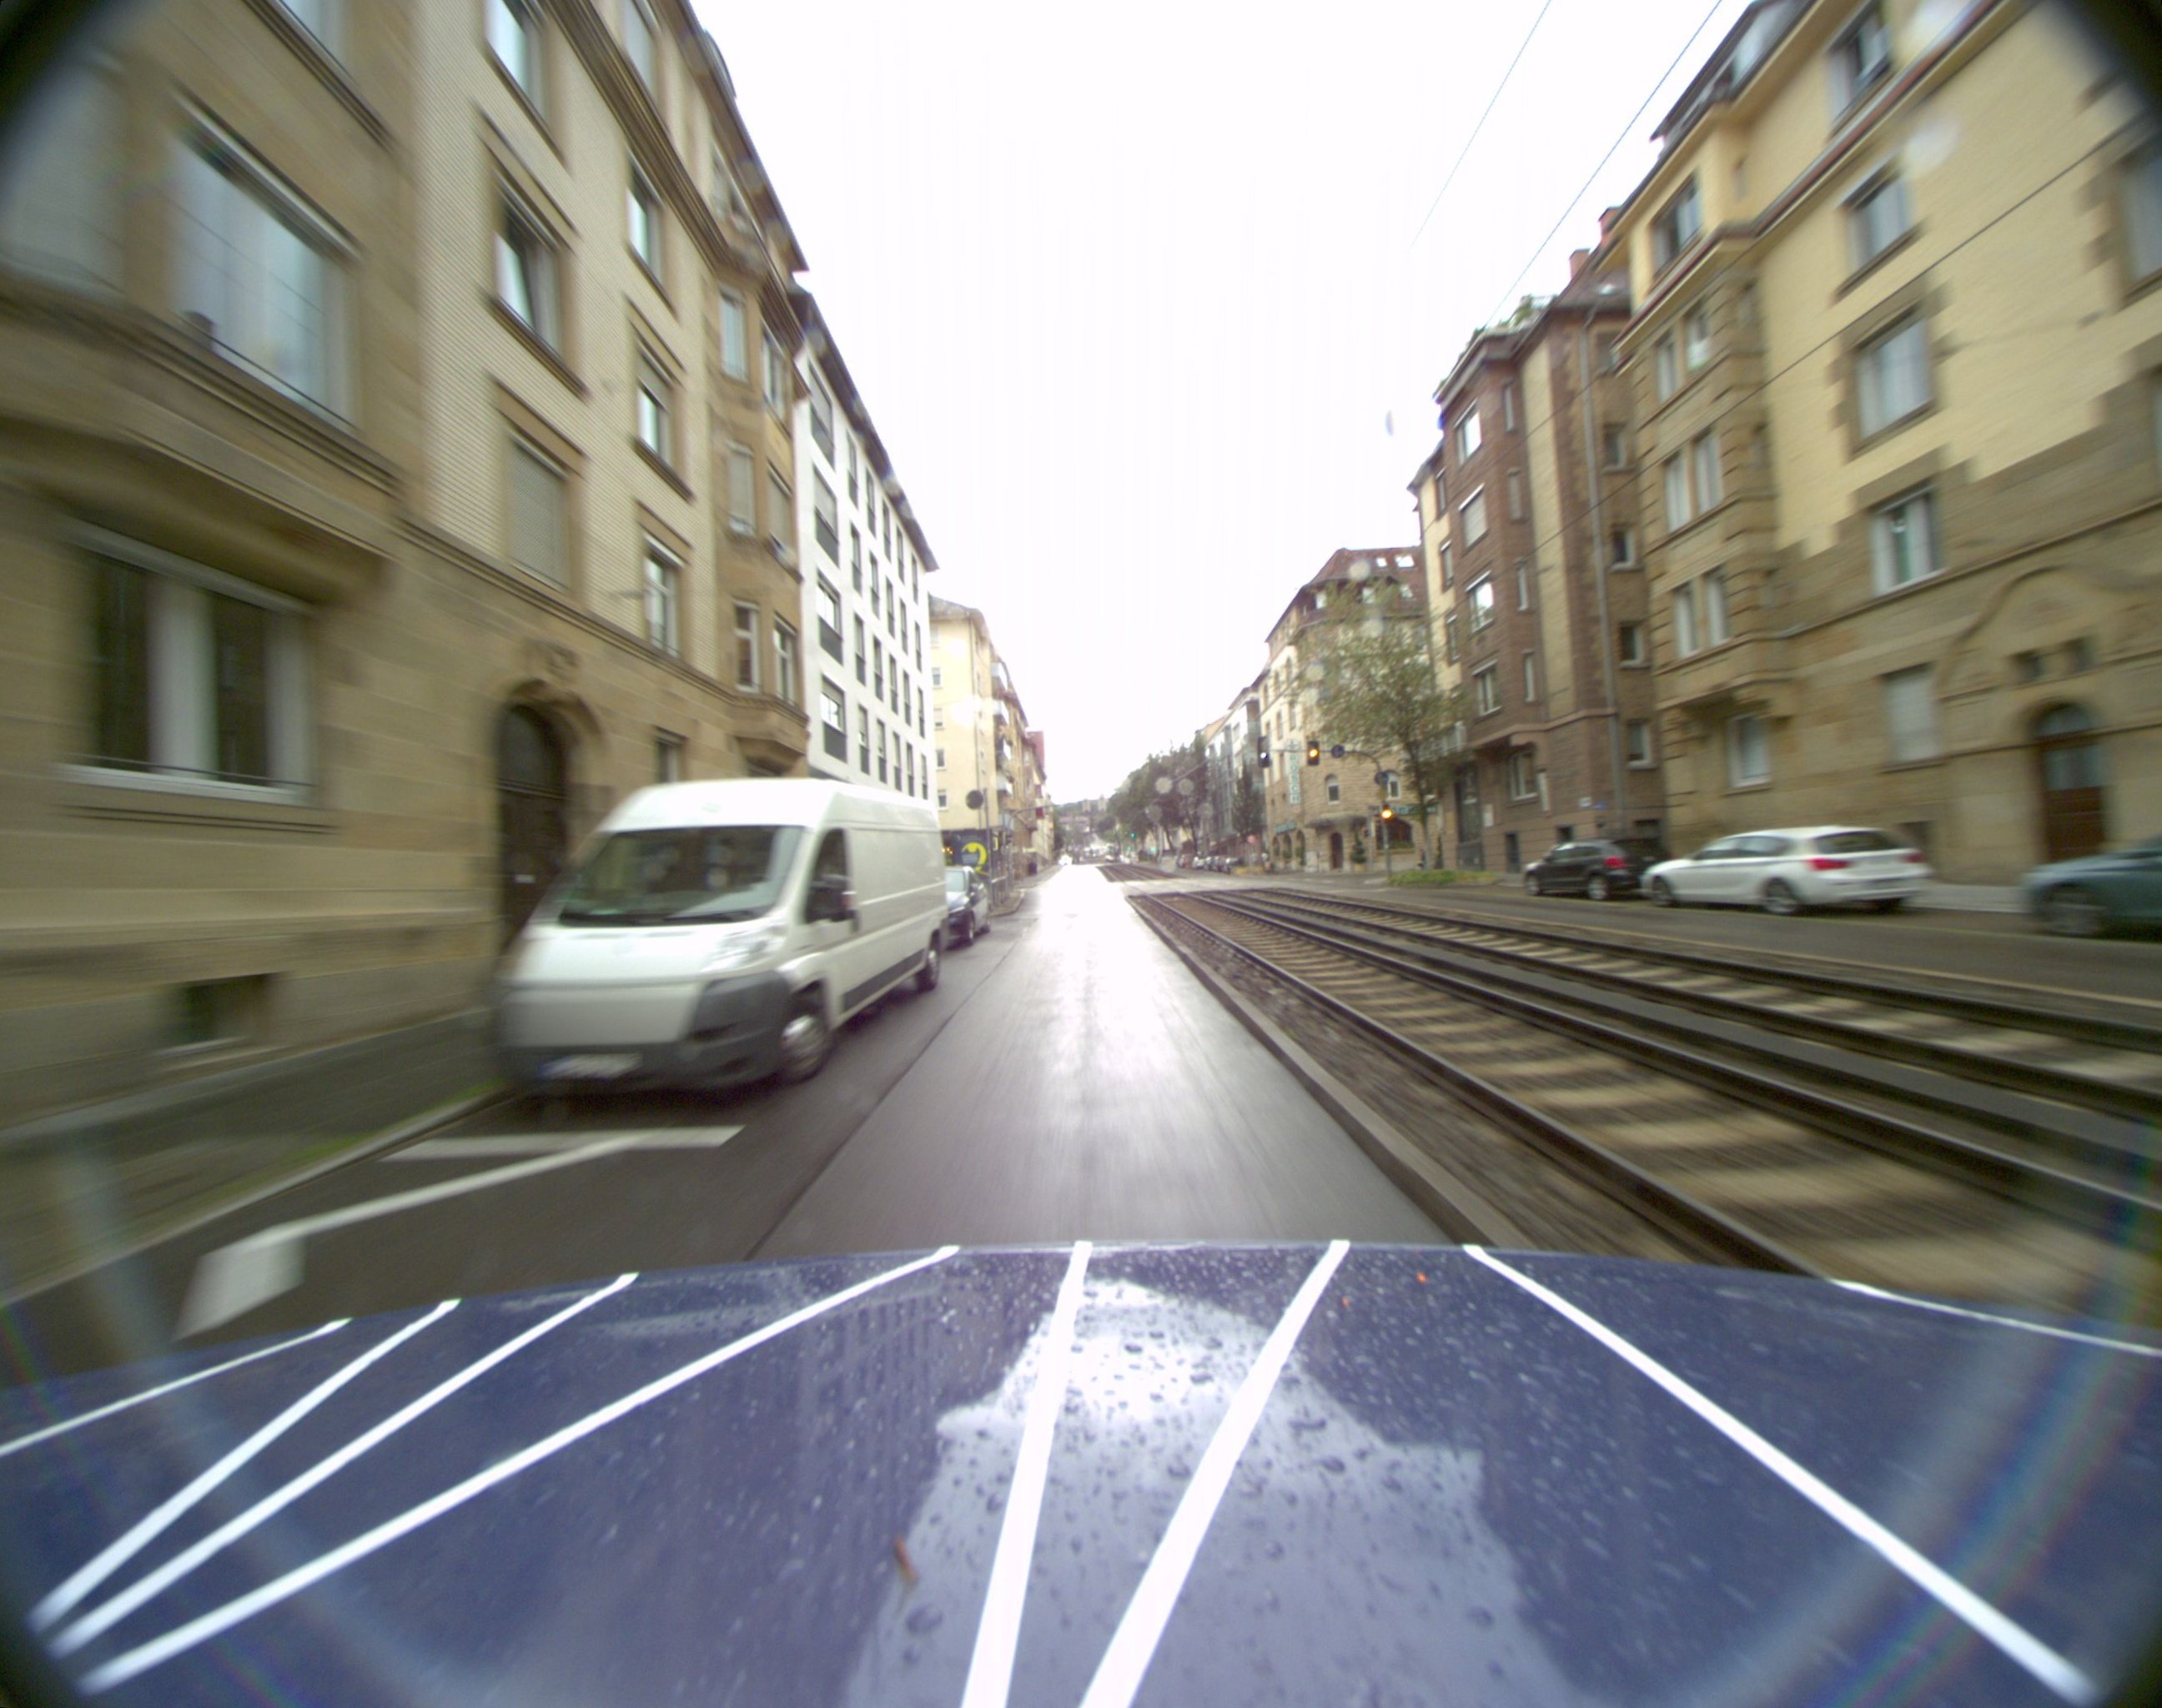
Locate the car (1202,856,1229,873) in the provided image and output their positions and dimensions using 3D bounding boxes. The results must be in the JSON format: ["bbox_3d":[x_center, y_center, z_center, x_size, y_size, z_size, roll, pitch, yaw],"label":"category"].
[{"bbox_3d":[13.082,1.003,74.215,1.805,1.446,4.431,-4,0,0],"label":"car"}]

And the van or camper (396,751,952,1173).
[{"bbox_3d":[-2.960,0.624,7.630,2.069,2.455,6.118,-3,1,1],"label":"van or camper"}]

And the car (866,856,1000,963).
[{"bbox_3d":[-2.921,1.006,16.030,1.773,1.797,4.482,-4,0,1],"label":"car"}]

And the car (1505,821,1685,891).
[{"bbox_3d":[12.498,0.011,18.827,1.769,1.477,4.000,-3,1,1],"label":"car"}]

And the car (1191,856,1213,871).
[{"bbox_3d":[13.188,0.998,83.254,1.706,1.328,4.130,-5,1,1],"label":"car"}]

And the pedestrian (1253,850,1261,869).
[{"bbox_3d":[15.015,0.437,64.688,0.518,1.561,0.643,-2,2,5],"label":"pedestrian"}]

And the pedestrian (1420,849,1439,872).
[{"bbox_3d":[22.637,0.417,49.307,0.819,1.407,0.721,-4,-2,4],"label":"pedestrian"}]

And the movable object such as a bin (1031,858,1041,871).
[{"bbox_3d":[-5.092,1.160,86.513,1.011,1.443,1.393,-1,1,1],"label":"movable object such as a bin"}]

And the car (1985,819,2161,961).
[{"bbox_3d":[12.210,0.324,7.478,1.565,1.429,4.147,-6,-2,1],"label":"car"}]

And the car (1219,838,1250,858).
[{"bbox_3d":[13.046,-0.521,64.824,1.769,1.543,3.894,-3,0,0],"label":"car"}]

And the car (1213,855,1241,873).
[{"bbox_3d":[13.336,0.865,69.572,1.812,1.490,3.525,-4,1,-1],"label":"car"}]

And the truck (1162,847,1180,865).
[{"bbox_3d":[13.726,0.277,116.015,2.197,2.333,6.351,-2,2,3],"label":"truck"}]

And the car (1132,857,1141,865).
[{"bbox_3d":[11.590,1.361,157.515,1.631,1.473,3.580,-3,1,1],"label":"car"}]

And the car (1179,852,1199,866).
[{"bbox_3d":[13.466,0.624,94.673,1.781,1.560,4.158,-3,1,0],"label":"car"}]

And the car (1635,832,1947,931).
[{"bbox_3d":[12.278,0.397,13.605,1.671,1.417,4.262,-3,0,2],"label":"car"}]
